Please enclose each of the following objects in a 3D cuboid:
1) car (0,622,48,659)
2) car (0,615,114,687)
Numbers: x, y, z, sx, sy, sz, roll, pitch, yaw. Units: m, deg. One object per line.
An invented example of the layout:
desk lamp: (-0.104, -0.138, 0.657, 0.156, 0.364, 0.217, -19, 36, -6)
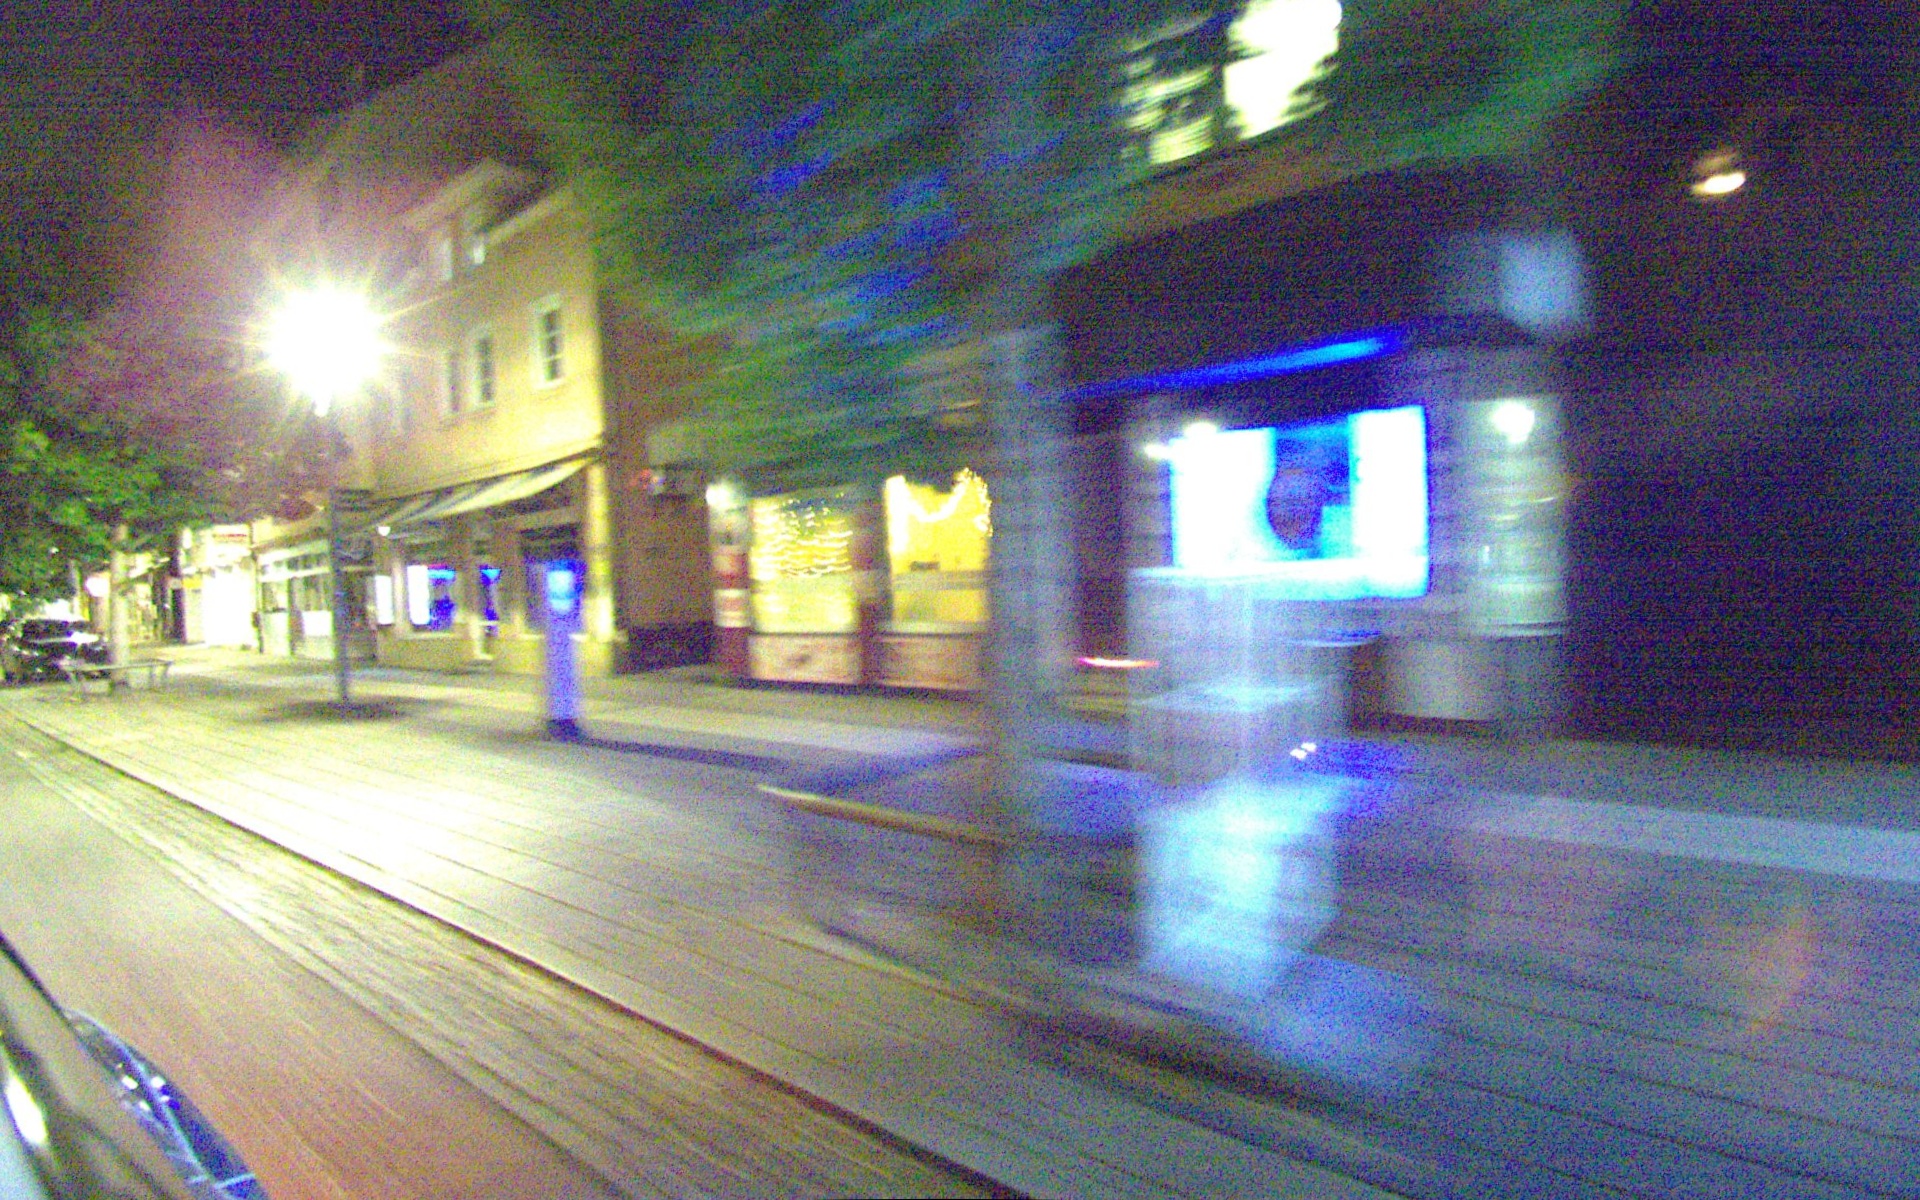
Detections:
car: (-41.416, 1.748, 44.469, 1.811, 1.478, 4.003, -2, 0, -44)
car: (-22.212, 1.198, 24.684, 3.998, 1.516, 1.773, -2, 1, 41)
